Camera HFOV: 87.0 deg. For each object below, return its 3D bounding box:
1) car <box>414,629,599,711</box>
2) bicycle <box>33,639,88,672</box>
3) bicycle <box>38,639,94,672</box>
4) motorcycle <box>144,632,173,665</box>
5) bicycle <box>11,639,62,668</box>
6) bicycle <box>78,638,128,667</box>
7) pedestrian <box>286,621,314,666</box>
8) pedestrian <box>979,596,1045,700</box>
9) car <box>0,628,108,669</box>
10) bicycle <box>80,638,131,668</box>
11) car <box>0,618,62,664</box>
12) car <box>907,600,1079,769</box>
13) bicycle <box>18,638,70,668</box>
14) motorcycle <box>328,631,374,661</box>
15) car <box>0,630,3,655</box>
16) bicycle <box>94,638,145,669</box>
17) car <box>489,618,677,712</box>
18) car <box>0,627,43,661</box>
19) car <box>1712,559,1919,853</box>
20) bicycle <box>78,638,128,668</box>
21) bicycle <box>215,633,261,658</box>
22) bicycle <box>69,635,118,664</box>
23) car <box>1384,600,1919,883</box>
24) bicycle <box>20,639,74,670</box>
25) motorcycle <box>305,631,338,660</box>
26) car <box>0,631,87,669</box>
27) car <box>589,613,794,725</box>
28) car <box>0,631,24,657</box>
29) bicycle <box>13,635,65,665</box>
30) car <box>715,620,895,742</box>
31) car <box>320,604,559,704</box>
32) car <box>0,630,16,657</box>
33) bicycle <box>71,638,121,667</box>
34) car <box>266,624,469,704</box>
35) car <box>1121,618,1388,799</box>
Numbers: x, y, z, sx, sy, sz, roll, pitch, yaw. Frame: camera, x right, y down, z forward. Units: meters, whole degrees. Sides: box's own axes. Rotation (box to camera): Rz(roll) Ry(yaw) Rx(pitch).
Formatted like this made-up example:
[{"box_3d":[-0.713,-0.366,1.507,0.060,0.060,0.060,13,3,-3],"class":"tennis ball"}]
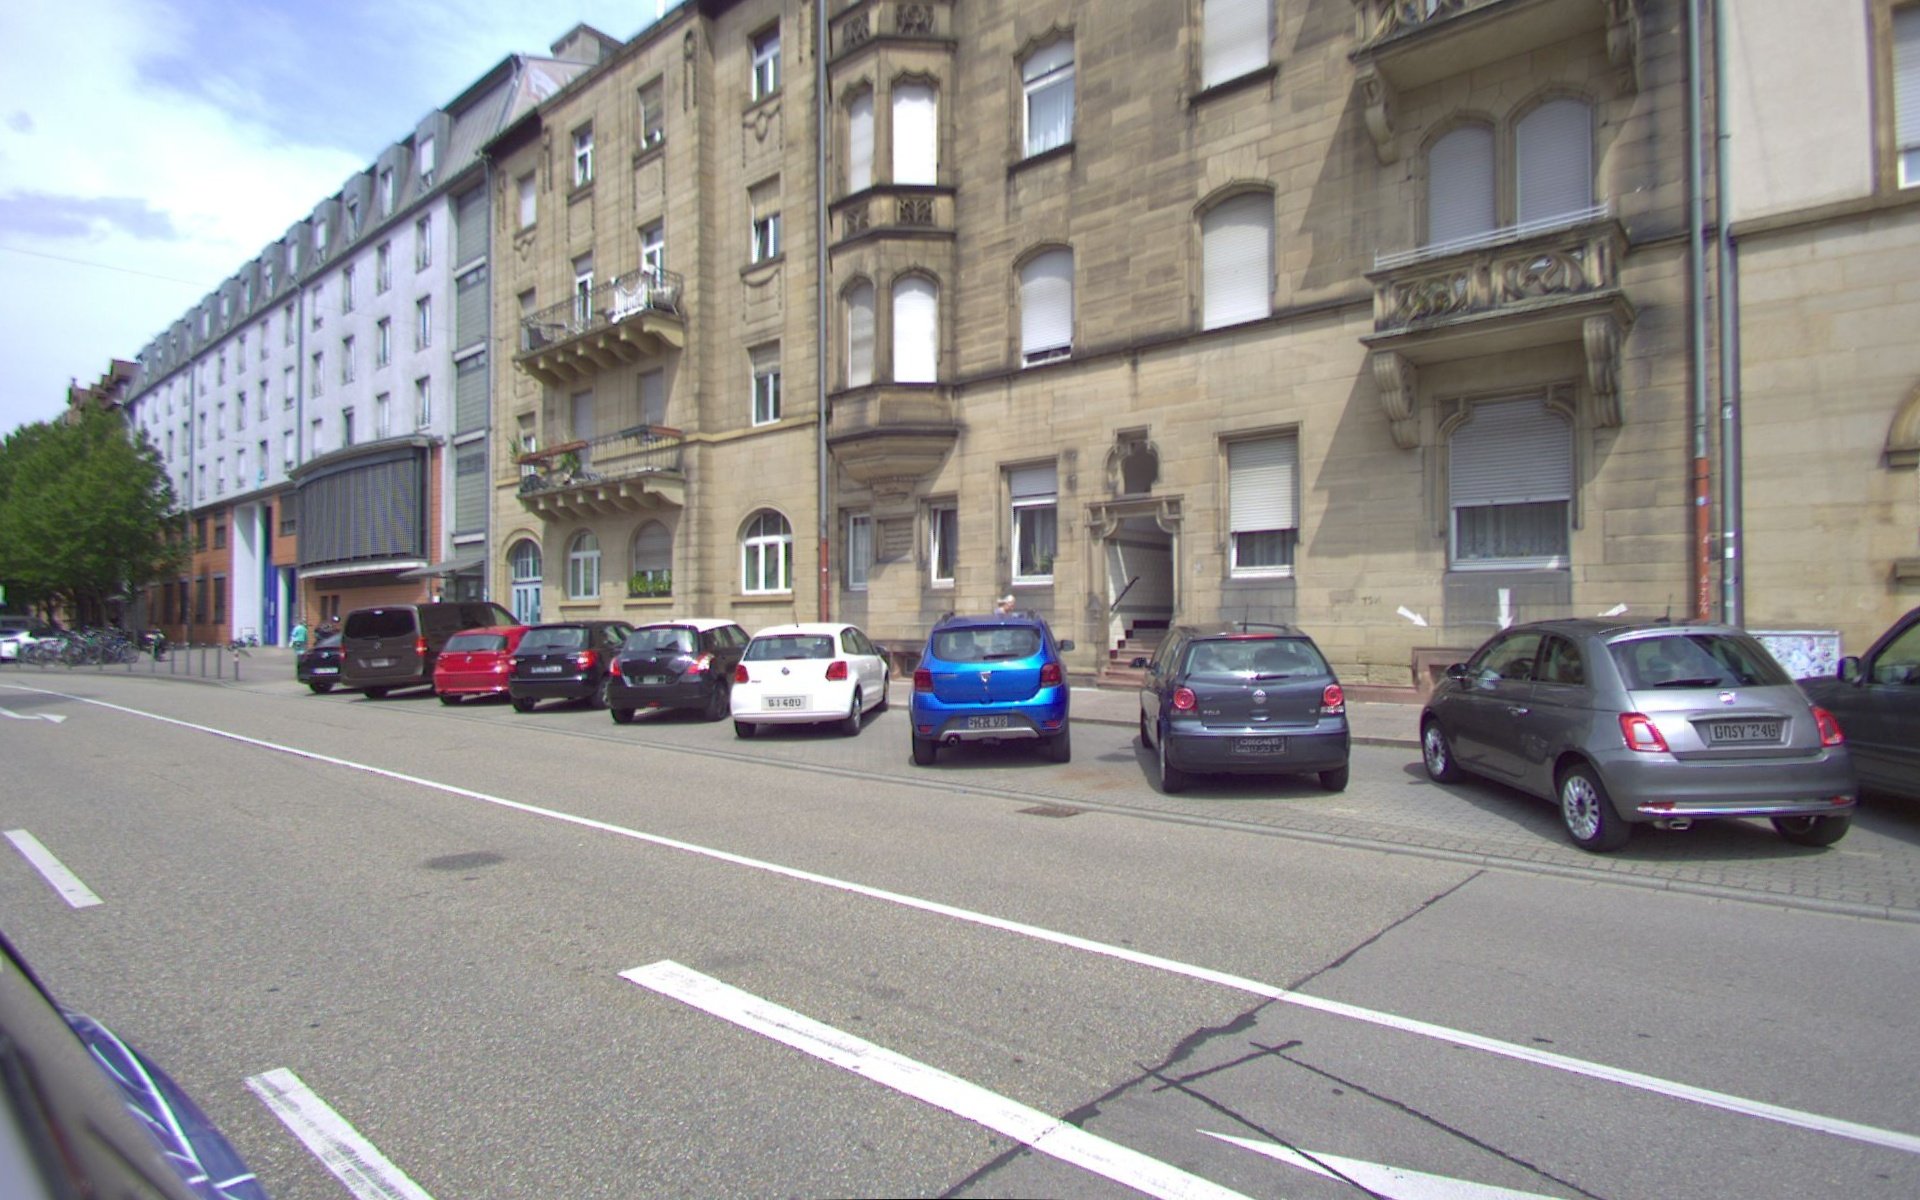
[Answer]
[{"box_3d":[-8.766,1.300,19.965,1.772,1.420,4.009,0,-1,2],"class":"car"},{"box_3d":[-31.689,1.947,35.661,0.402,1.046,1.391,-2,0,43],"class":"bicycle"},{"box_3d":[-30.992,1.927,35.104,0.402,1.046,1.391,-2,0,43],"class":"bicycle"},{"box_3d":[-29.836,1.807,37.661,1.779,1.181,0.577,-2,-1,43],"class":"motorcycle"},{"box_3d":[-35.310,2.041,38.691,0.402,1.034,1.391,-2,0,43],"class":"bicycle"},{"box_3d":[-32.014,1.954,37.813,0.402,1.034,1.391,-2,-1,43],"class":"bicycle"},{"box_3d":[-22.334,1.455,34.257,0.508,1.497,0.653,-2,-2,39],"class":"pedestrian"},{"box_3d":[0.841,0.751,16.337,0.678,1.607,0.783,-1,0,41],"class":"pedestrian"},{"box_3d":[-37.232,1.934,41.139,1.583,1.557,3.997,-1,-1,6],"class":"car"},{"box_3d":[-31.302,1.937,37.074,0.402,1.034,1.391,-2,-1,43],"class":"bicycle"},{"box_3d":[-43.811,1.862,46.145,1.841,2.013,3.993,-1,0,10],"class":"car"},{"box_3d":[0.467,0.891,11.953,1.702,1.664,3.773,0,-2,5],"class":"car"},{"box_3d":[-33.757,1.942,37.309,0.402,1.034,1.391,-2,0,43],"class":"bicycle"},{"box_3d":[-22.488,1.697,37.340,1.959,1.057,0.579,-2,-1,30],"class":"motorcycle"},{"box_3d":[-59.943,2.587,60.398,1.671,1.580,3.996,-1,-2,7],"class":"car"},{"box_3d":[-30.234,1.915,36.412,0.402,1.034,1.391,-2,-1,43],"class":"bicycle"},{"box_3d":[-6.636,1.096,18.296,1.611,1.514,3.989,-1,-1,6],"class":"car"},{"box_3d":[-47.972,2.181,49.851,1.692,1.627,3.996,-1,-2,7],"class":"car"},{"box_3d":[7.067,0.675,6.328,1.772,1.893,4.009,0,-2,2],"class":"car"},{"box_3d":[-31.691,1.949,37.445,0.402,1.034,1.391,-2,-1,43],"class":"bicycle"},{"box_3d":[-32.768,2.066,45.938,1.590,0.933,0.933,-6,2,-37],"class":"bicycle"},{"box_3d":[-33.052,1.879,38.606,0.402,1.034,1.391,-2,-1,43],"class":"bicycle"},{"box_3d":[5.053,0.886,8.014,1.772,1.664,4.009,0,-1,2],"class":"car"},{"box_3d":[-33.270,1.985,36.890,0.402,1.046,1.391,-2,0,43],"class":"bicycle"},{"box_3d":[-24.510,1.749,38.855,1.655,1.057,0.577,-2,-1,40],"class":"motorcycle"},{"box_3d":[-39.264,2.066,42.180,1.697,1.480,4.307,-1,-1,7],"class":"car"},{"box_3d":[-4.185,1.036,16.468,1.776,1.576,4.001,-1,-2,9],"class":"car"},{"box_3d":[-52.178,2.370,53.408,1.577,1.400,3.996,-1,-2,7],"class":"car"},{"box_3d":[-34.710,1.884,38.156,0.402,1.034,1.391,-2,0,43],"class":"bicycle"},{"box_3d":[-2.036,1.048,14.321,1.720,1.493,3.680,0,-1,5],"class":"car"},{"box_3d":[-11.106,1.109,22.160,2.096,1.924,5.260,-1,-1,6],"class":"car"},{"box_3d":[-53.915,2.382,54.781,1.671,1.465,3.996,-1,-2,7],"class":"car"},{"box_3d":[-32.684,1.988,38.286,0.402,1.034,1.391,-2,-1,43],"class":"bicycle"},{"box_3d":[-13.632,1.410,23.687,1.874,1.420,4.669,-2,1,2],"class":"car"},{"box_3d":[2.690,0.929,10.172,1.814,1.454,3.897,0,-1,5],"class":"car"}]
